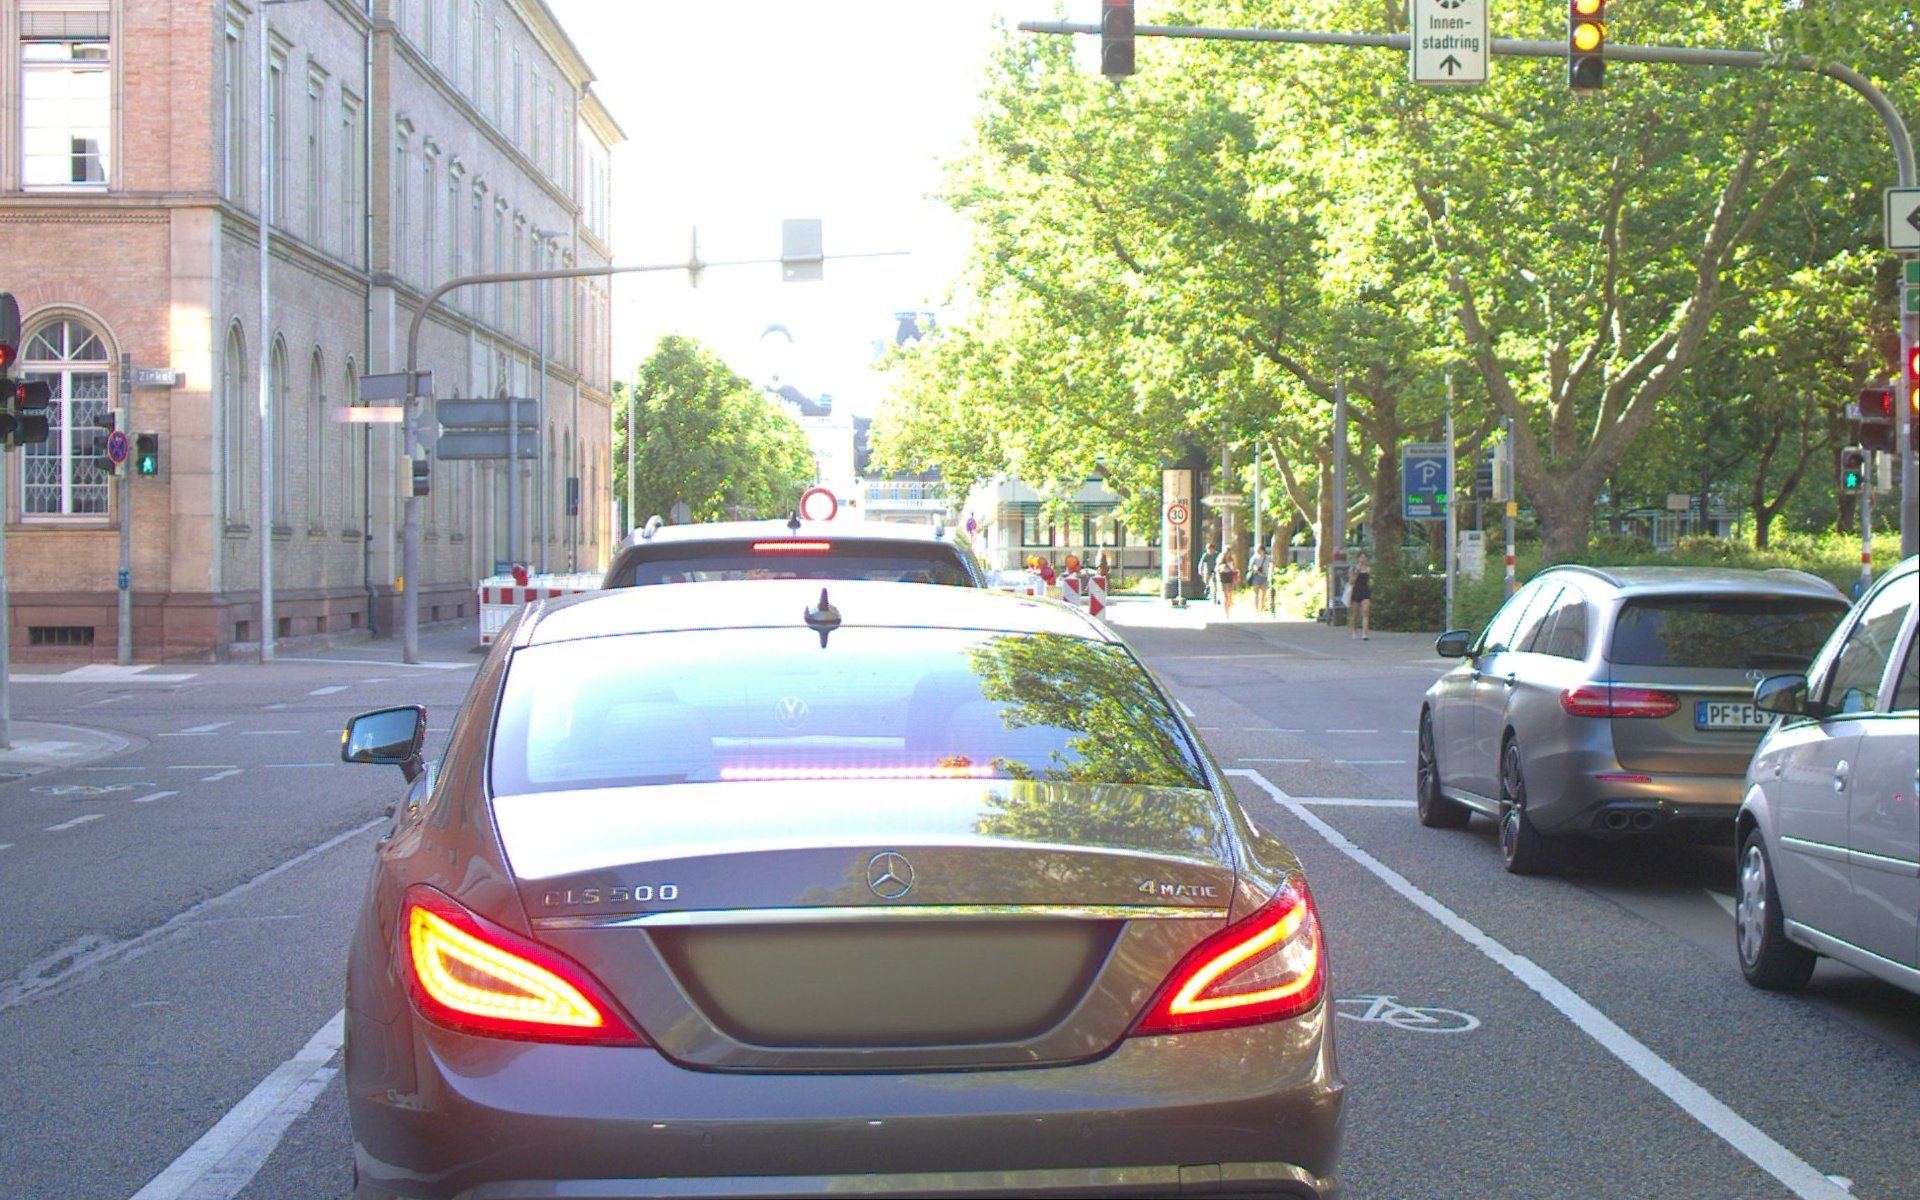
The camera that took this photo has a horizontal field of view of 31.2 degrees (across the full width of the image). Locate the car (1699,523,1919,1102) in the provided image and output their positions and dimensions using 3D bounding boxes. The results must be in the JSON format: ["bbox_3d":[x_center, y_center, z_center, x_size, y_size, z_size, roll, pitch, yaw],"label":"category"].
[{"bbox_3d":[3.550,0.593,10.684,1.701,1.597,3.859,2,1,1],"label":"car"}]

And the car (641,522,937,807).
[{"bbox_3d":[-1.079,0.367,23.231,1.820,1.756,4.000,0,1,-1],"label":"car"}]

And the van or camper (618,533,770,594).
[{"bbox_3d":[-8.752,-1.209,113.149,4.585,1.935,1.998,1,1,23],"label":"van or camper"}]

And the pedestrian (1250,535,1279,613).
[{"bbox_3d":[7.124,-0.615,80.456,0.603,1.815,0.651,0,1,-1],"label":"pedestrian"}]

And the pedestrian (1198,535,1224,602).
[{"bbox_3d":[6.835,-0.873,93.675,0.611,1.815,0.932,0,1,-1],"label":"pedestrian"}]

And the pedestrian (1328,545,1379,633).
[{"bbox_3d":[7.156,-0.204,62.544,0.830,1.601,0.651,1,1,-1],"label":"pedestrian"}]

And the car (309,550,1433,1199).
[{"bbox_3d":[-0.415,0.629,7.662,1.803,1.451,4.352,0,1,-8],"label":"car"}]

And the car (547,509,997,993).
[{"bbox_3d":[-0.730,0.485,13.690,1.517,1.641,3.881,1,1,-3],"label":"car"}]

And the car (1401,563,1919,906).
[{"bbox_3d":[3.542,0.571,17.527,1.913,1.459,4.669,1,1,-1],"label":"car"}]

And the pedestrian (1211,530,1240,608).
[{"bbox_3d":[6.217,-0.733,80.630,0.603,1.815,0.651,0,1,-1],"label":"pedestrian"}]
